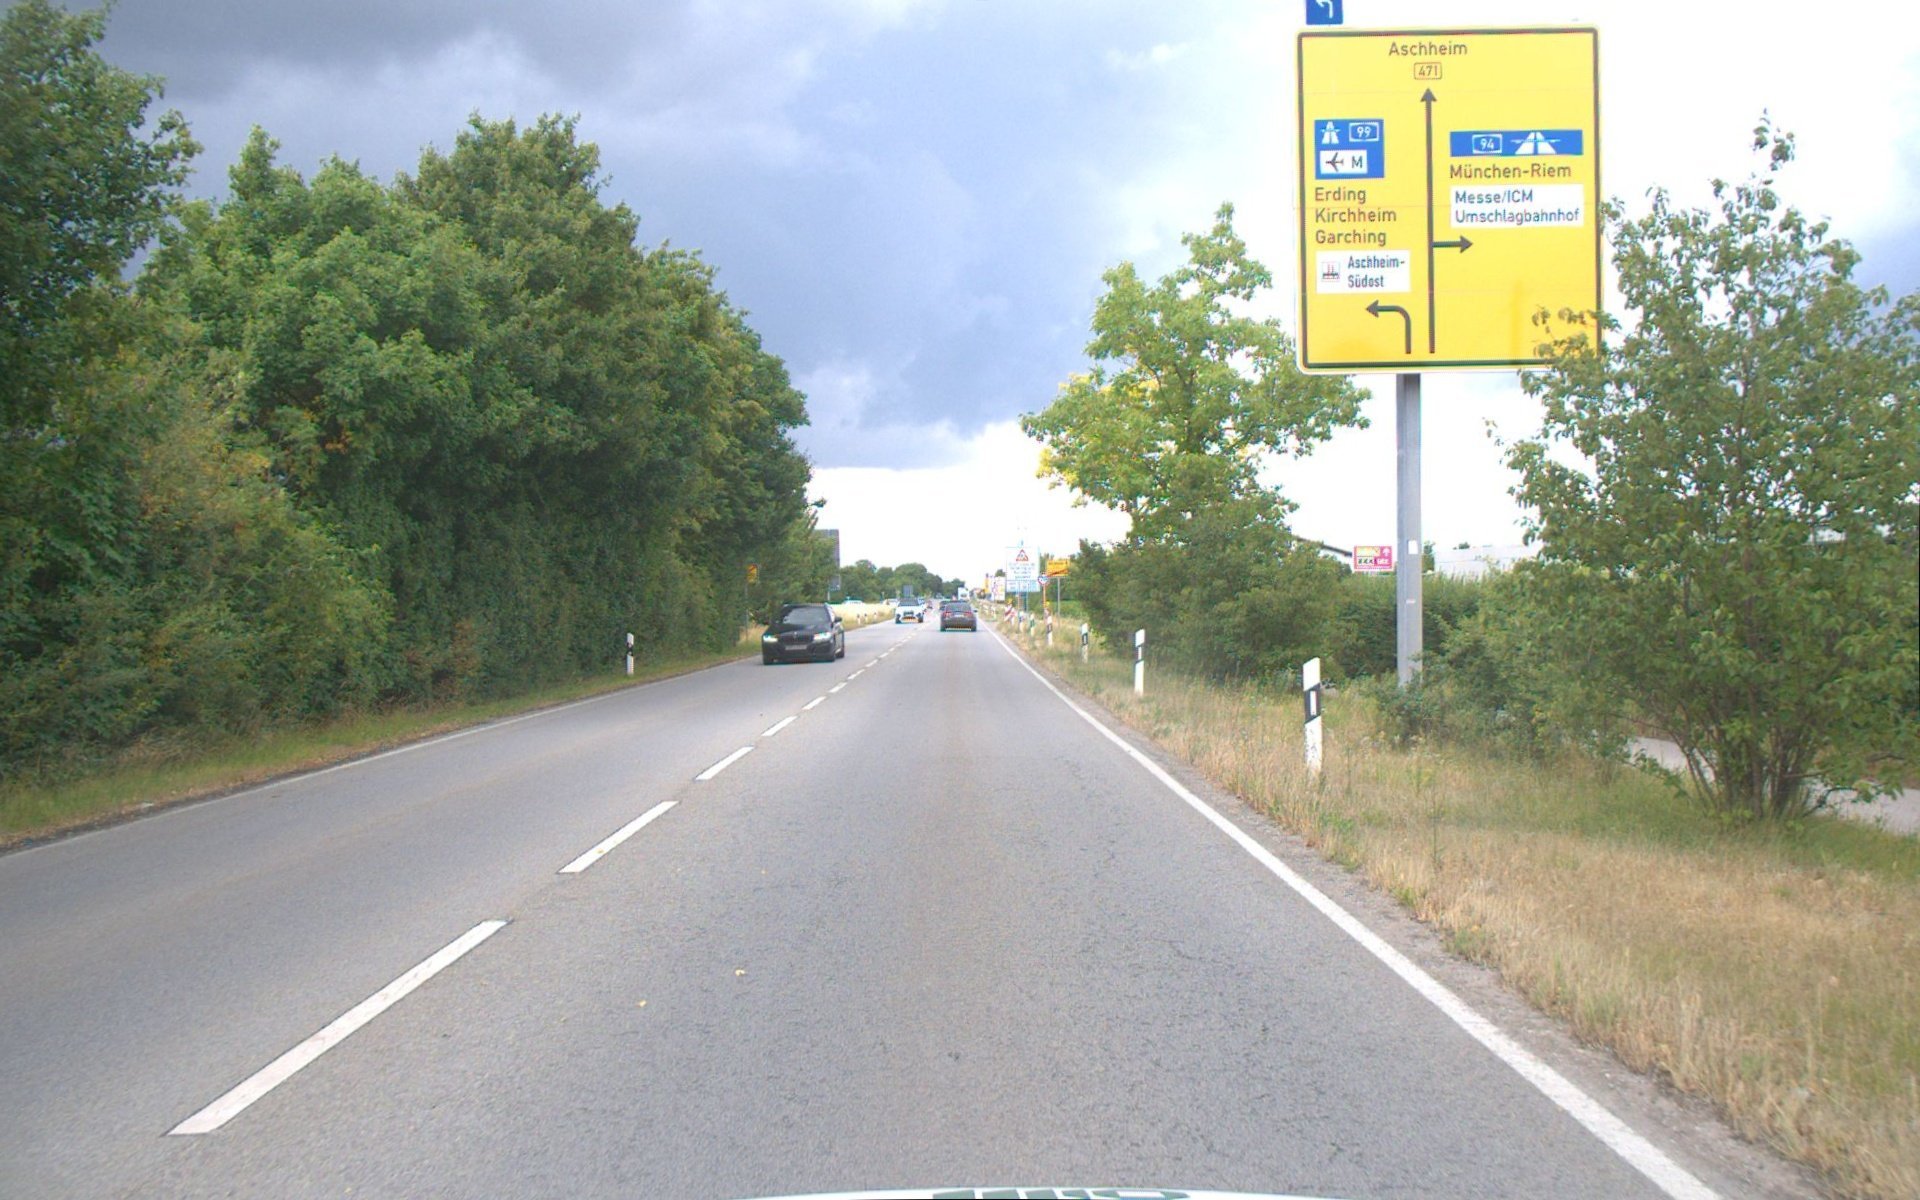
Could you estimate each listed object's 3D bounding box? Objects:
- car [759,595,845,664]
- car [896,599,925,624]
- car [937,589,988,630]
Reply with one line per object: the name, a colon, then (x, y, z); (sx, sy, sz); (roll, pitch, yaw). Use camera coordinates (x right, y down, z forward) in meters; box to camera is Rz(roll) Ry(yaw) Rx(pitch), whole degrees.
car: (-4.047, 0.733, 42.911); (1.901, 1.614, 4.554); (-2, 0, -2)
car: (-3.529, 0.823, 118.714); (1.953, 1.713, 4.809); (-1, 0, 0)
car: (0.076, 0.486, 83.582); (2.324, 1.913, 4.476); (-2, 0, -2)
